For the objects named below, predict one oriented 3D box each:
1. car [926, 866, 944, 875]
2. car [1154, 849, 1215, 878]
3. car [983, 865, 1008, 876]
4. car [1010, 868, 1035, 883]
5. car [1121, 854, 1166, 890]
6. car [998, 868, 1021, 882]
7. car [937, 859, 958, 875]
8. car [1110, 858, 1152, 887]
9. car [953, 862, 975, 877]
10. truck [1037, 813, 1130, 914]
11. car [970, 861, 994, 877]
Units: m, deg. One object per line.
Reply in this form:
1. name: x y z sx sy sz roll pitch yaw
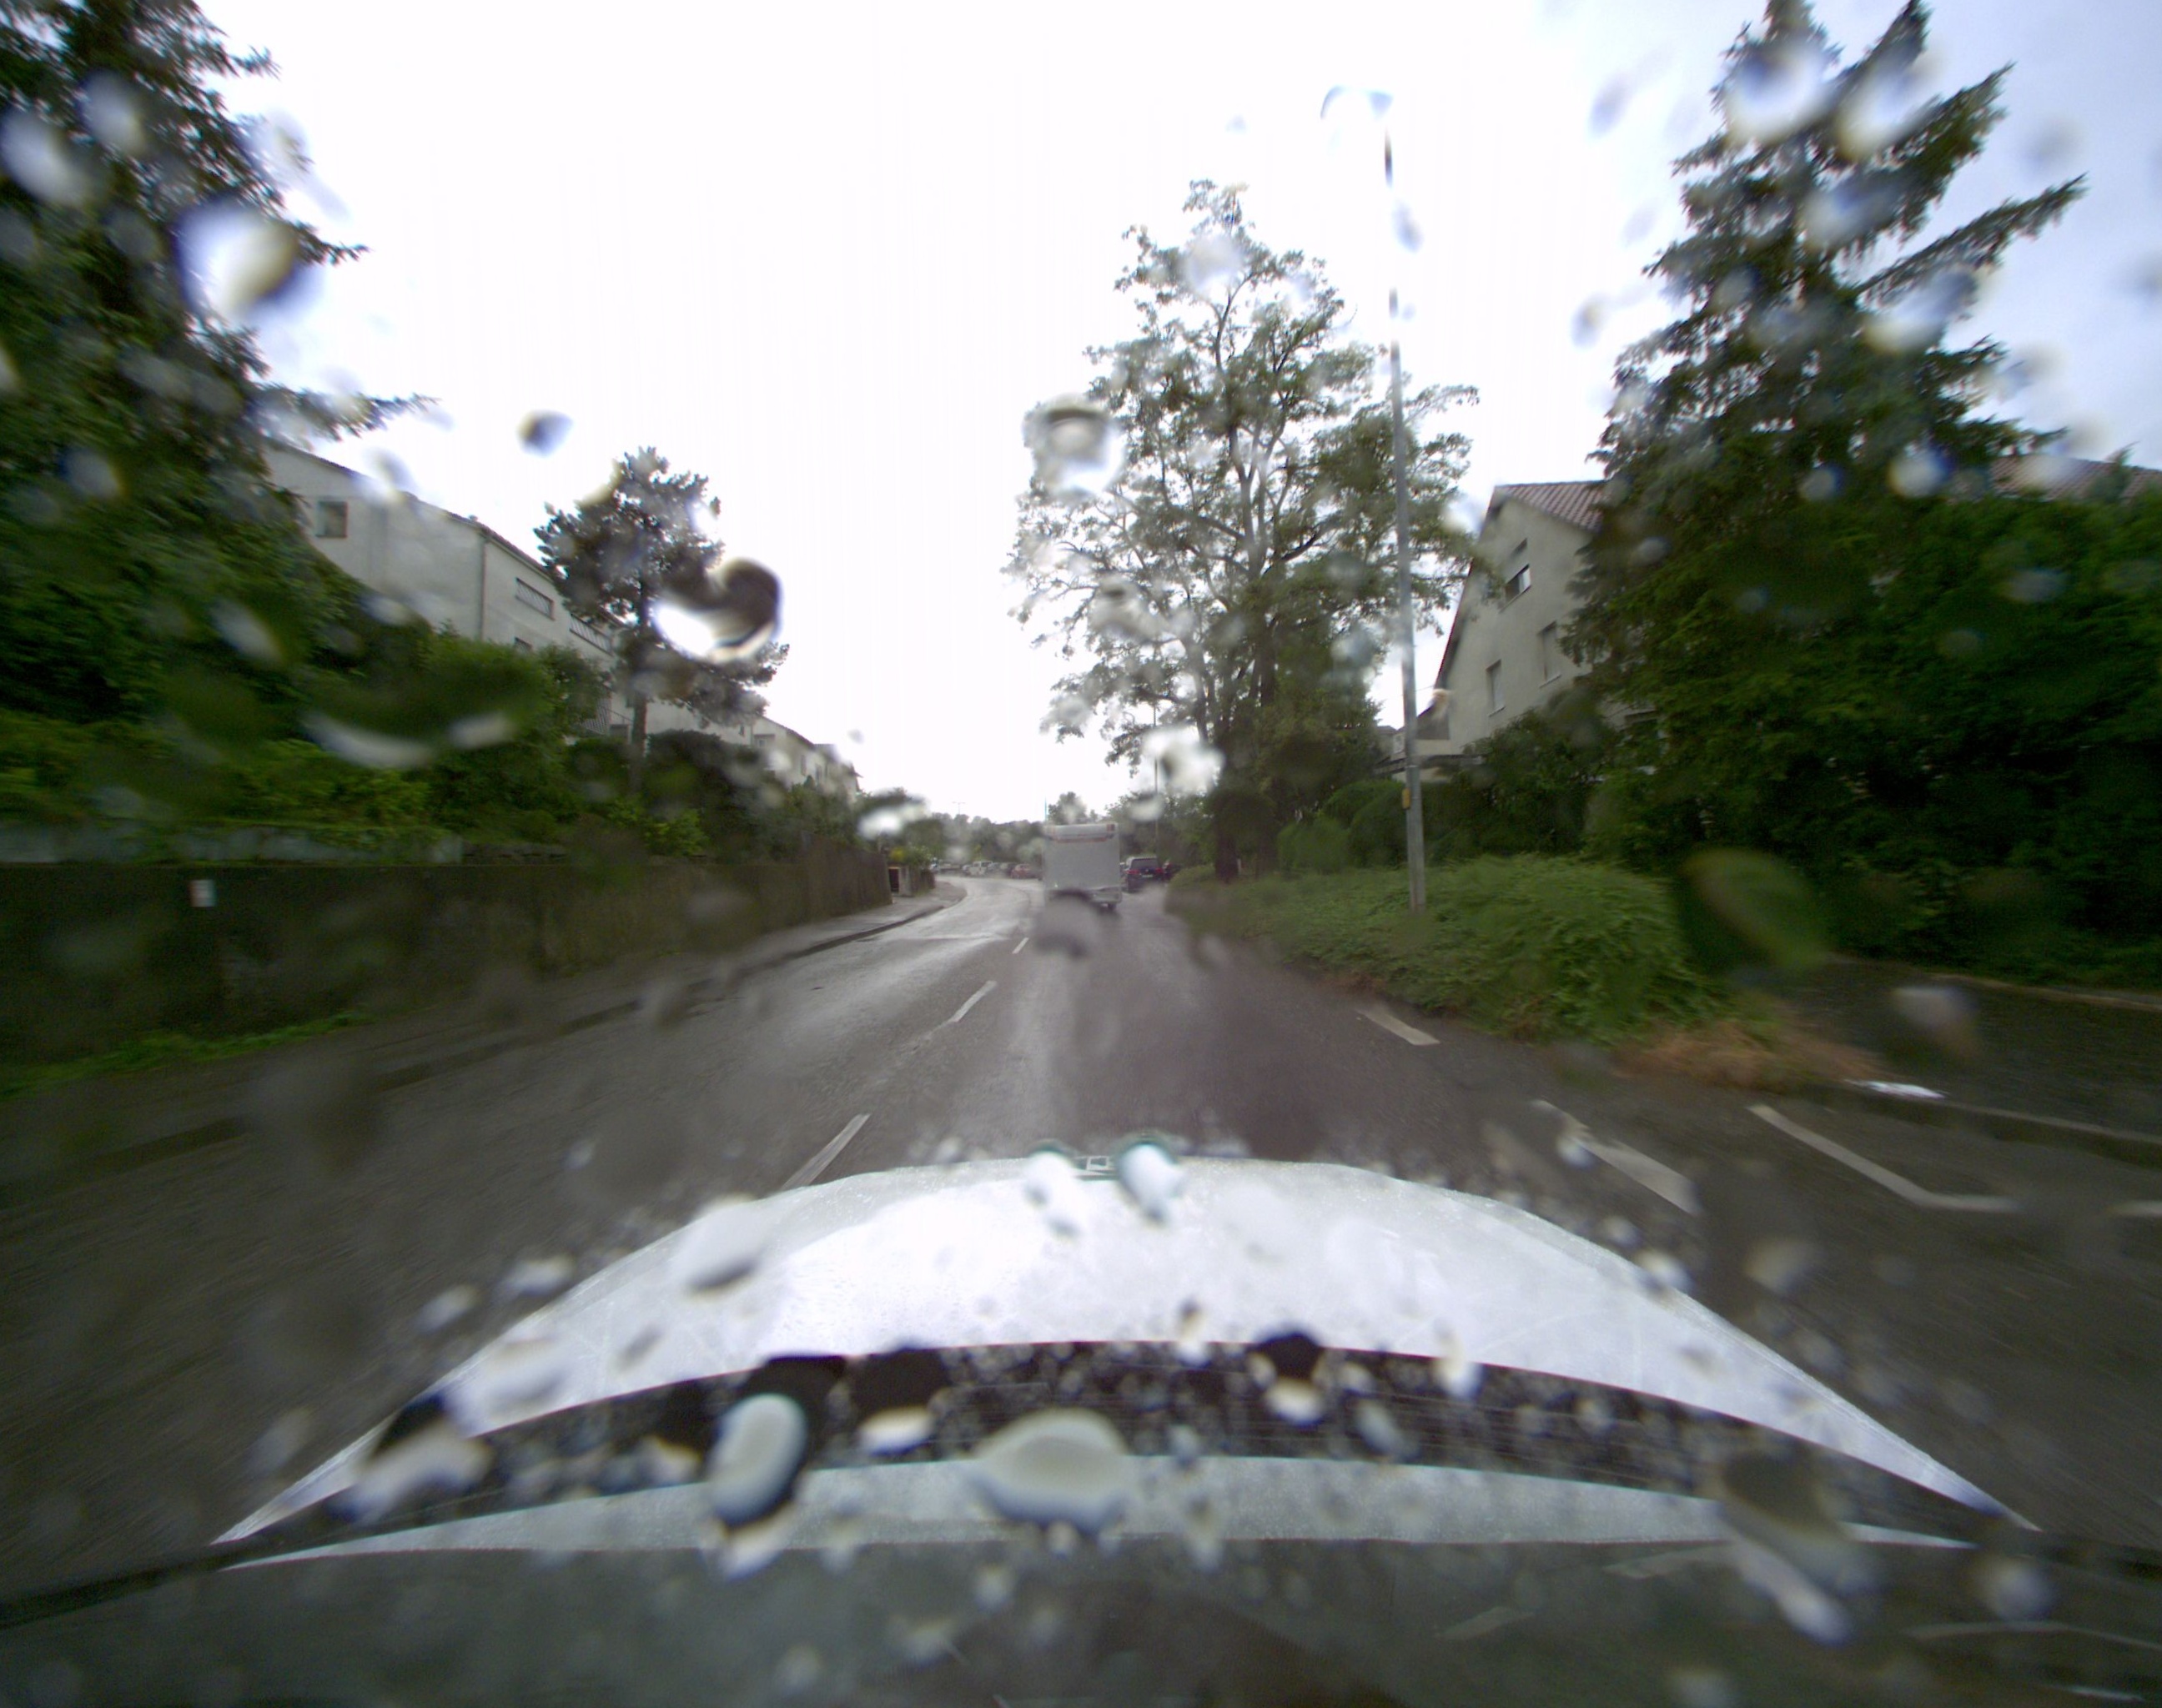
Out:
1. car: -21.538 2.467 120.222 1.653 1.101 3.967 4 -4 -24
2. car: 6.724 0.667 53.064 3.615 1.664 1.997 2 -3 -3
3. car: -9.702 1.899 91.893 1.653 1.101 3.967 4 -4 -24
4. car: -5.910 2.150 81.581 1.545 1.327 3.839 3 -4 -19
5. car: 2.945 0.848 39.167 1.986 1.640 4.001 -1 -1 2
6. car: -7.599 2.220 86.271 1.543 1.327 3.976 3 -3 -17
7. car: -18.564 1.781 113.243 1.748 2.044 4.477 4 -4 -24
8. car: 2.675 0.998 44.782 1.851 1.517 3.995 0 -1 -3
9. car: -14.660 1.990 102.060 1.653 1.721 3.967 4 -4 -24
10. truck: -0.100 0.313 26.522 2.511 2.817 6.192 -2 -1 -4
11. car: -11.775 1.786 96.656 1.653 1.721 3.967 4 -4 -24
